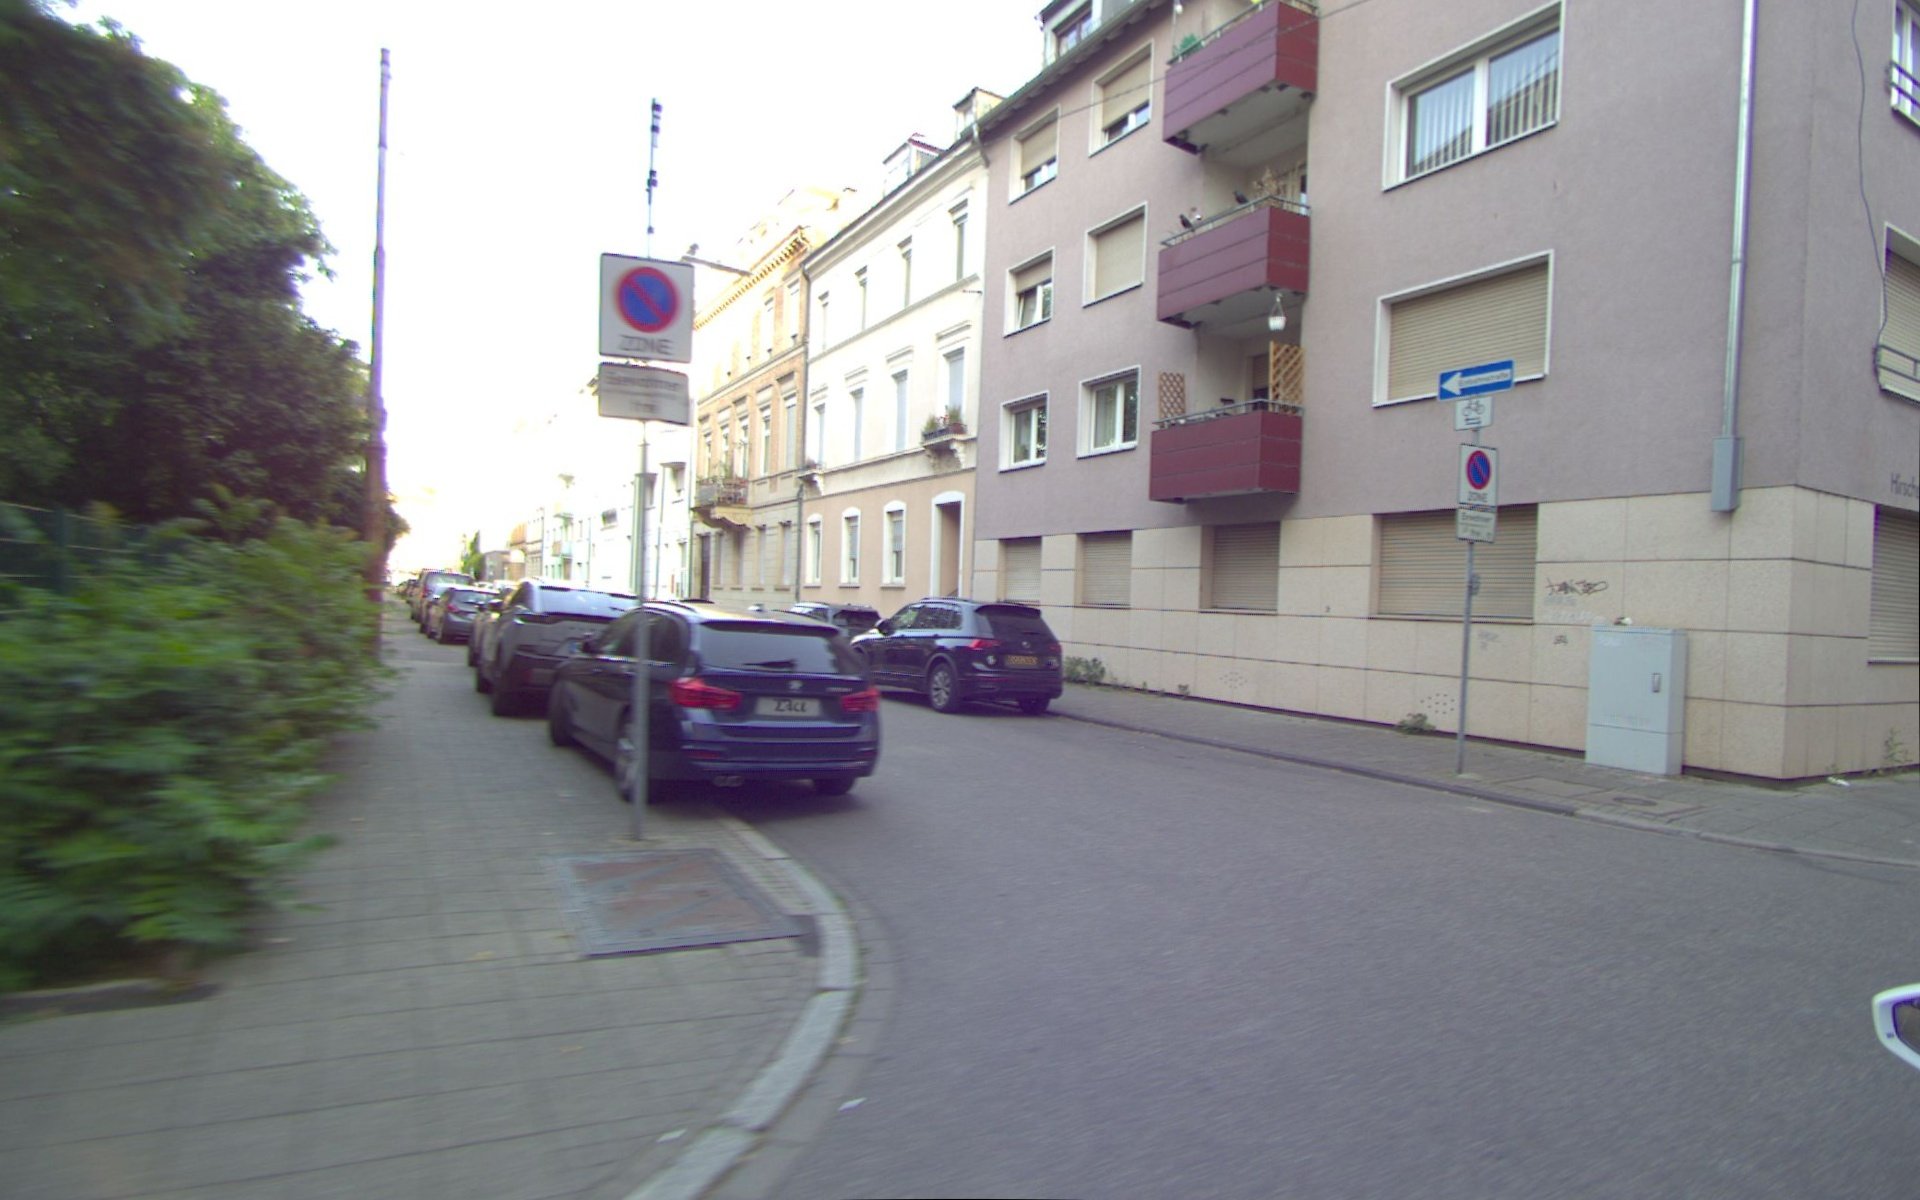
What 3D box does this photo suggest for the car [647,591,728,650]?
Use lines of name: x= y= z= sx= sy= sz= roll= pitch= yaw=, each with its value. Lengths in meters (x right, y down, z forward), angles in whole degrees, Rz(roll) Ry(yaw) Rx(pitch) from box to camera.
car: x=-8.058 y=0.571 z=29.541 sx=1.596 sy=1.608 sz=3.160 roll=2 pitch=0 yaw=-28

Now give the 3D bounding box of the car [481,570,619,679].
car: x=-7.353 y=0.371 z=17.755 sx=1.806 sy=1.662 sz=4.352 roll=2 pitch=0 yaw=-28

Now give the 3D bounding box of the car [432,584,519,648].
car: x=-12.749 y=0.386 z=26.317 sx=1.823 sy=1.504 sz=3.871 roll=2 pitch=0 yaw=-29

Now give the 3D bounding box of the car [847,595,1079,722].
car: x=-0.088 y=0.833 z=15.492 sx=1.776 sy=1.677 sz=3.813 roll=5 pitch=-2 yaw=-31

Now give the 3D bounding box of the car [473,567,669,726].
car: x=-5.130 y=0.479 z=12.871 sx=1.806 sy=1.662 sz=4.352 roll=2 pitch=0 yaw=-28

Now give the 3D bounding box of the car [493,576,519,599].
car: x=-32.194 y=-0.888 z=71.200 sx=1.480 sy=1.529 sz=3.160 roll=2 pitch=0 yaw=-28

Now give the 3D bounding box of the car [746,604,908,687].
car: x=-2.777 y=0.869 z=20.361 sx=1.743 sy=1.467 sz=3.809 roll=2 pitch=-1 yaw=-34

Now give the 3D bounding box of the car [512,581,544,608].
car: x=-26.153 y=-0.352 z=60.782 sx=1.480 sy=1.529 sz=3.160 roll=2 pitch=0 yaw=-28

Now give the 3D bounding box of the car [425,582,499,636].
car: x=-15.249 y=0.241 z=30.647 sx=1.823 sy=1.504 sz=3.871 roll=2 pitch=0 yaw=-29

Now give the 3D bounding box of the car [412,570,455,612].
car: x=-27.213 y=-0.463 z=51.869 sx=1.823 sy=1.986 sz=3.871 roll=2 pitch=0 yaw=-29

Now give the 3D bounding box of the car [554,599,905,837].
car: x=-2.236 y=0.776 z=8.669 sx=1.667 sy=1.477 sz=4.322 roll=2 pitch=-1 yaw=-31

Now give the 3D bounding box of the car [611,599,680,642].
car: x=-10.529 y=0.674 z=33.510 sx=1.596 sy=1.315 sz=3.160 roll=2 pitch=0 yaw=-28

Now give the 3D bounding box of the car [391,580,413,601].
car: x=-54.478 y=-0.932 z=98.104 sx=1.823 sy=1.986 sz=3.871 roll=2 pitch=0 yaw=-29

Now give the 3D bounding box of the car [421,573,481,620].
car: x=-19.237 y=-0.152 z=37.884 sx=1.823 sy=1.630 sz=3.871 roll=2 pitch=0 yaw=-29
